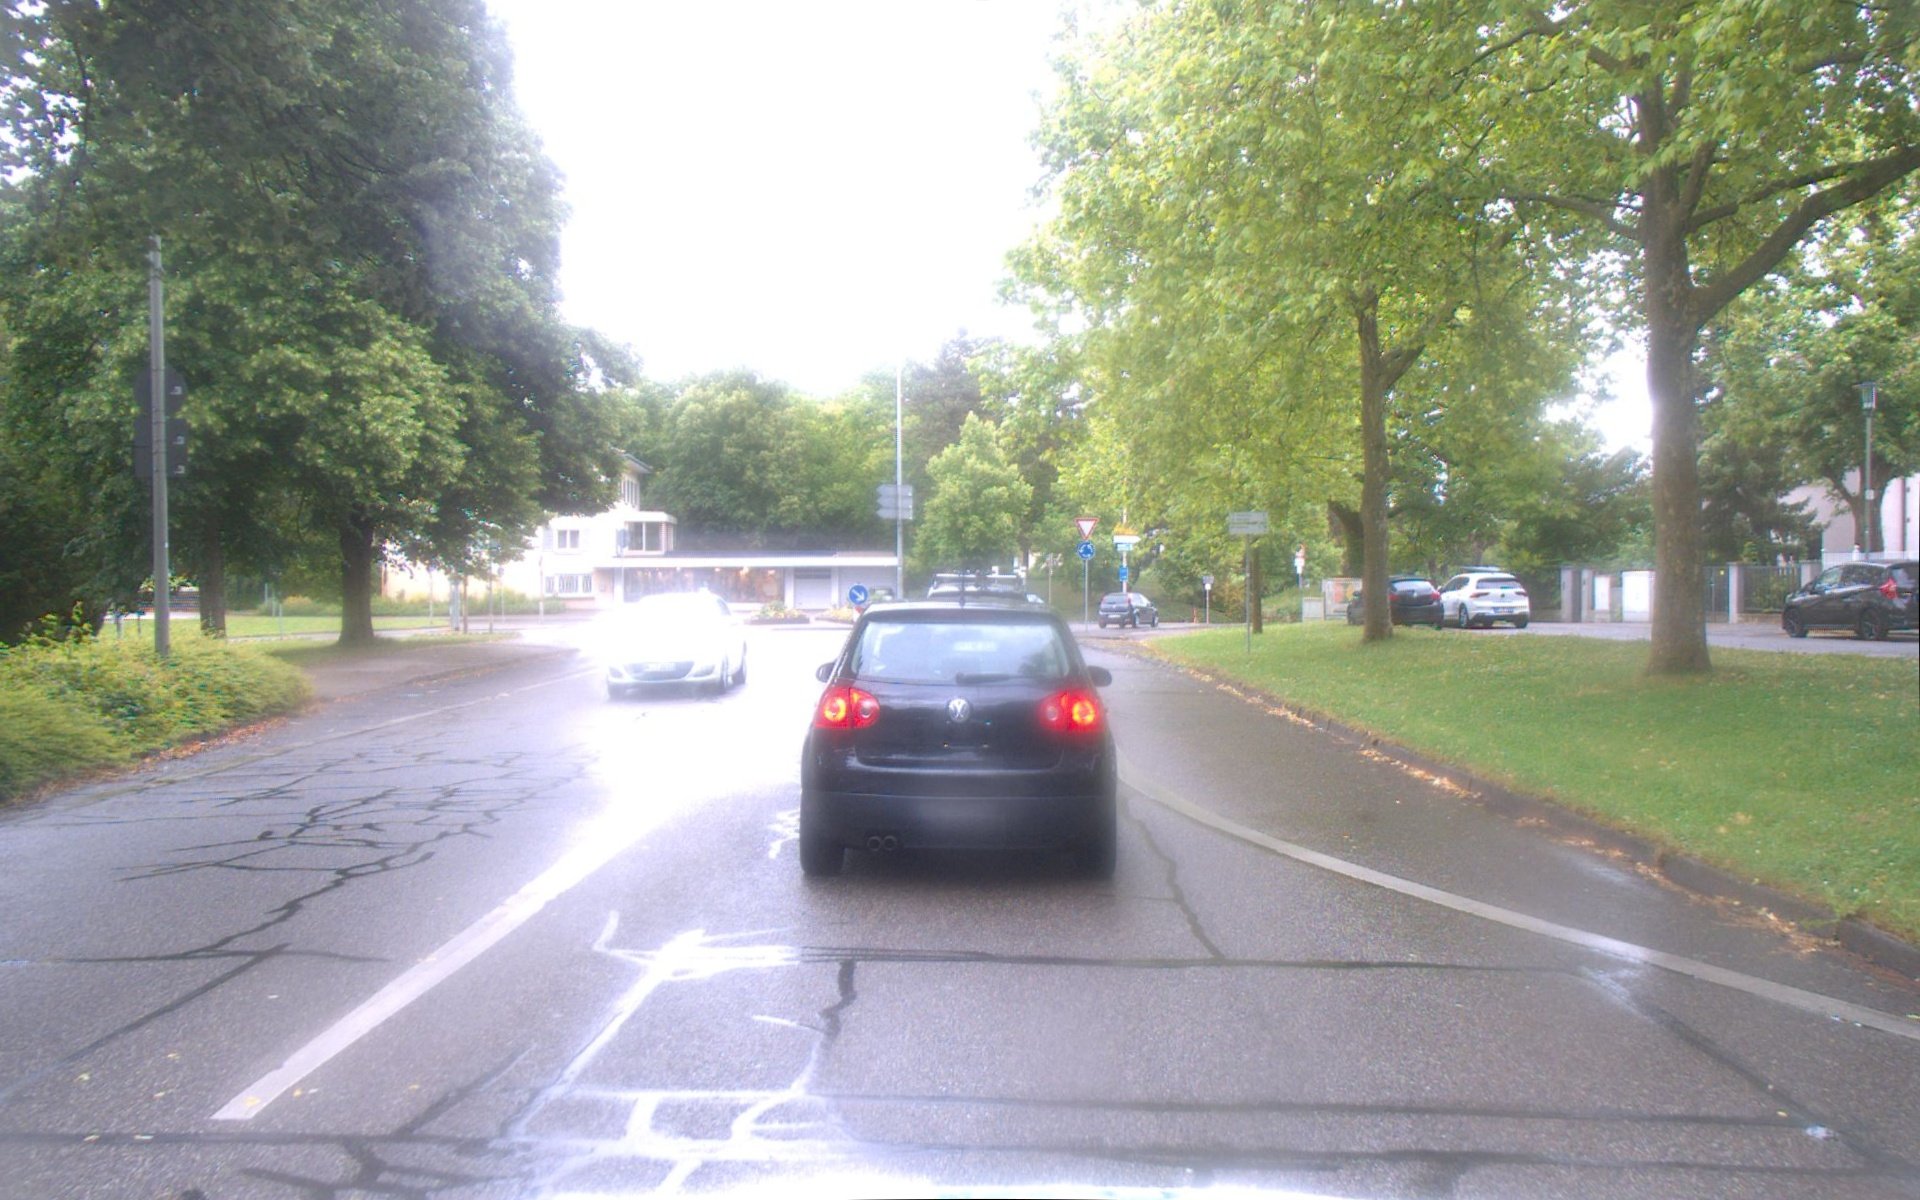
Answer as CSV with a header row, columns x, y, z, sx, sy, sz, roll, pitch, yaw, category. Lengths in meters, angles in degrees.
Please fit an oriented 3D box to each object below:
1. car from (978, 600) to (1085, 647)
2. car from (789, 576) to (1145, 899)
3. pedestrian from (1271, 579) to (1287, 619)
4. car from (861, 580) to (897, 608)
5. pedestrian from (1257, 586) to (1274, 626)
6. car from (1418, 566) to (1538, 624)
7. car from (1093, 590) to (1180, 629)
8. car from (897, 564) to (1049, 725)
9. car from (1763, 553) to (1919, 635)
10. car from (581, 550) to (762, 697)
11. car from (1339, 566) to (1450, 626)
x,y,z,sx,sy,sz,roll,pitch,yaw,category
2.532,0.834,57.919,1.959,1.557,3.987,1,0,34,car
0.005,0.685,10.166,1.729,1.565,3.999,1,0,-1,car
13.919,-0.038,72.231,0.620,1.743,0.530,1,-1,16,pedestrian
-4.647,-0.372,94.004,1.778,1.512,3.826,-1,1,-7,car
13.183,0.254,71.379,0.519,1.743,0.633,1,0,-14,pedestrian
14.320,-0.124,45.959,1.808,1.497,4.424,-2,0,-2,car
7.385,0.398,69.064,1.959,1.557,3.987,1,0,34,car
0.113,0.525,21.386,1.729,1.833,4.245,-1,0,-1,car
17.976,-0.122,32.817,1.725,1.497,4.353,-1,0,-4,car
-4.352,0.339,25.683,1.953,2.049,4.573,1,0,0,car
11.914,-0.093,45.675,1.728,1.497,4.597,-2,0,-1,car
